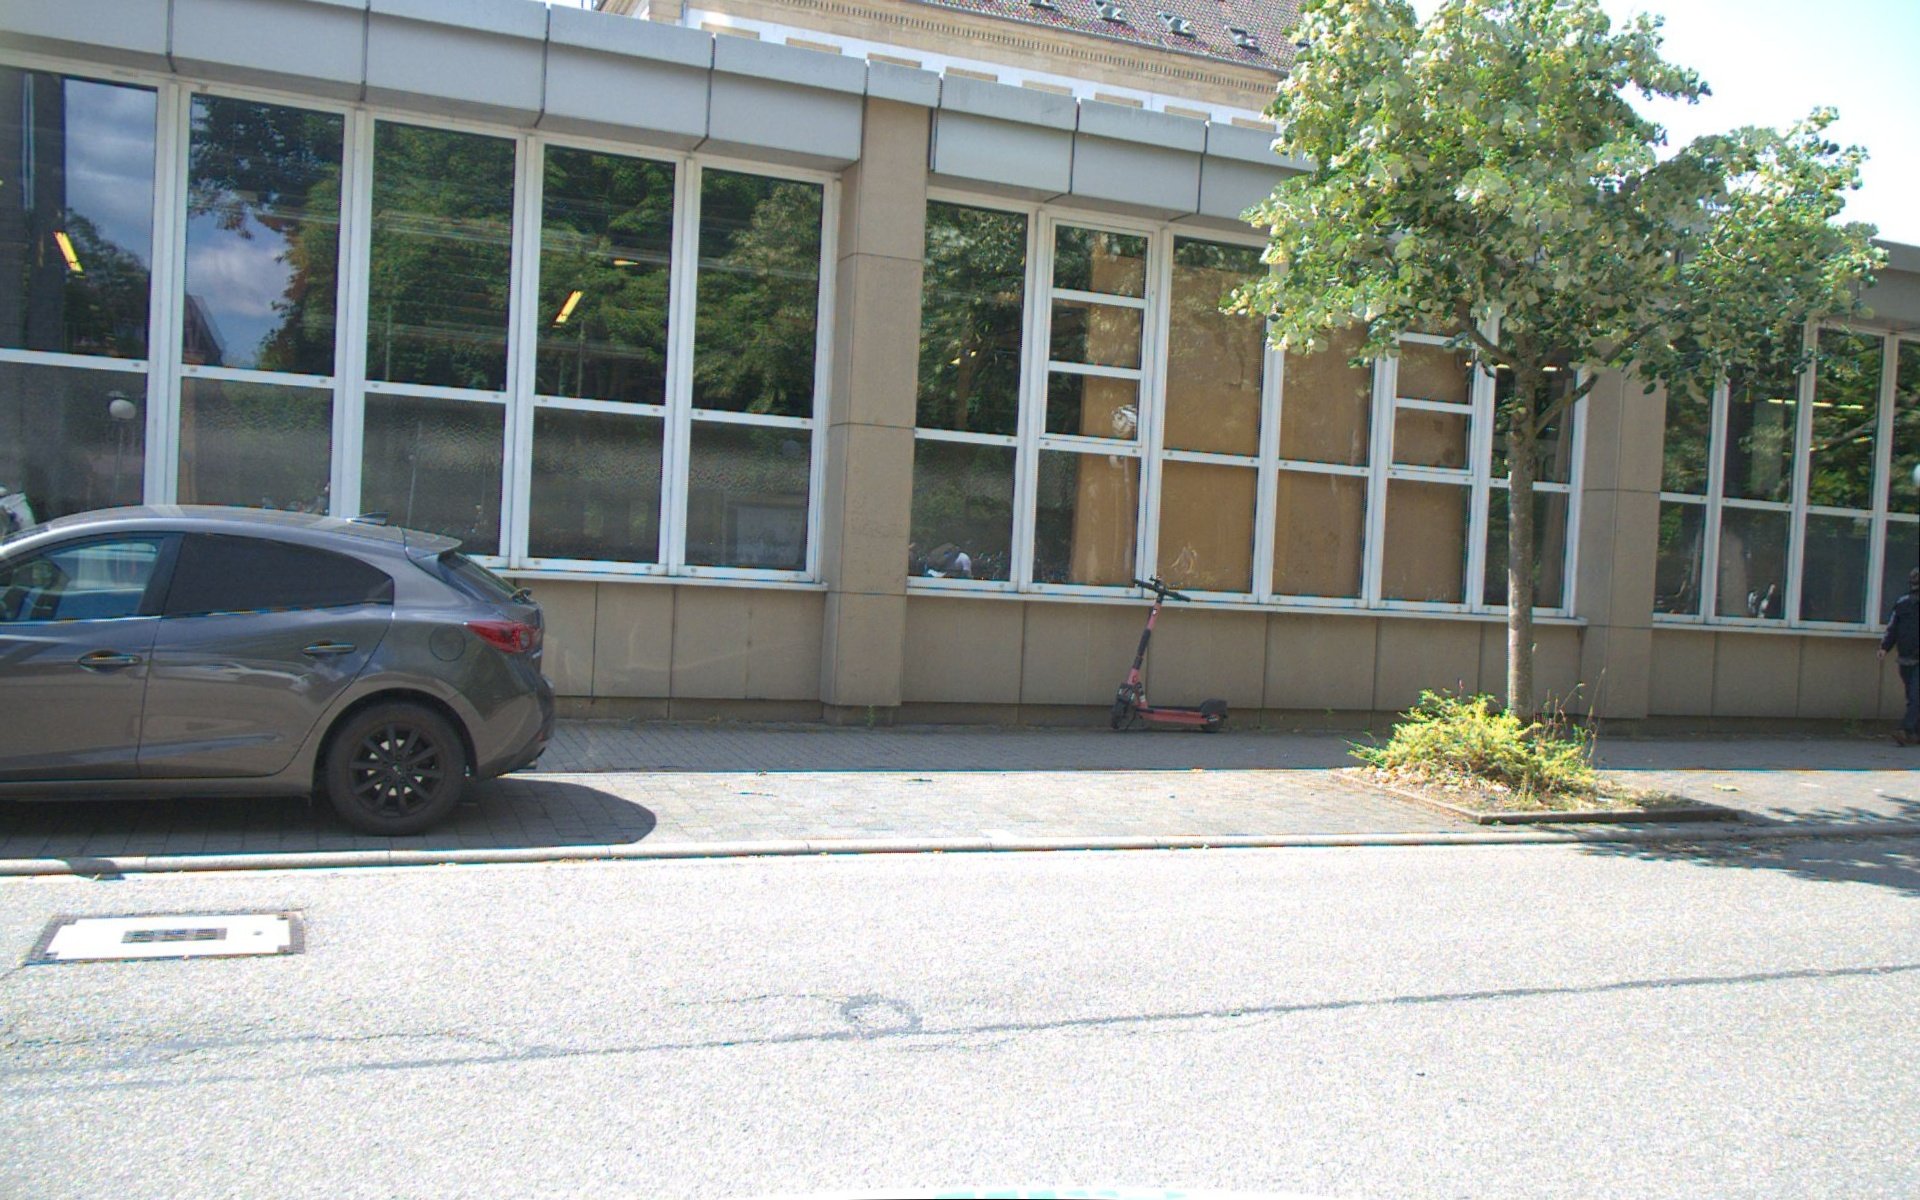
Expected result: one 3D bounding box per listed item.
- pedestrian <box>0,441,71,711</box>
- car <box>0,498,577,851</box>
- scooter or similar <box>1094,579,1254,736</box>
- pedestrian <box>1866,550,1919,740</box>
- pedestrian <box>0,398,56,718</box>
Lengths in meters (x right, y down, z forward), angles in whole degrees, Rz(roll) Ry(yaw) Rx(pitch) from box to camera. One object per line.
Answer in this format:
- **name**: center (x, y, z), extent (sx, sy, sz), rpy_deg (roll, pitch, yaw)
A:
- **pedestrian**: center (-5.819, -0.156, 9.878), extent (0.784, 1.568, 0.659), rpy_deg (2, 1, -23)
- **car**: center (-4.137, 0.287, 7.987), extent (4.217, 1.459, 1.720), rpy_deg (1, 4, -23)
- **scooter or similar**: center (1.759, 0.471, 13.585), extent (1.225, 1.227, 0.381), rpy_deg (1, 4, -24)
- **pedestrian**: center (9.592, 0.442, 16.346), extent (0.658, 1.817, 0.786), rpy_deg (1, 3, -21)
- **pedestrian**: center (-5.592, -0.250, 9.291), extent (0.784, 1.758, 0.597), rpy_deg (2, 1, -23)
